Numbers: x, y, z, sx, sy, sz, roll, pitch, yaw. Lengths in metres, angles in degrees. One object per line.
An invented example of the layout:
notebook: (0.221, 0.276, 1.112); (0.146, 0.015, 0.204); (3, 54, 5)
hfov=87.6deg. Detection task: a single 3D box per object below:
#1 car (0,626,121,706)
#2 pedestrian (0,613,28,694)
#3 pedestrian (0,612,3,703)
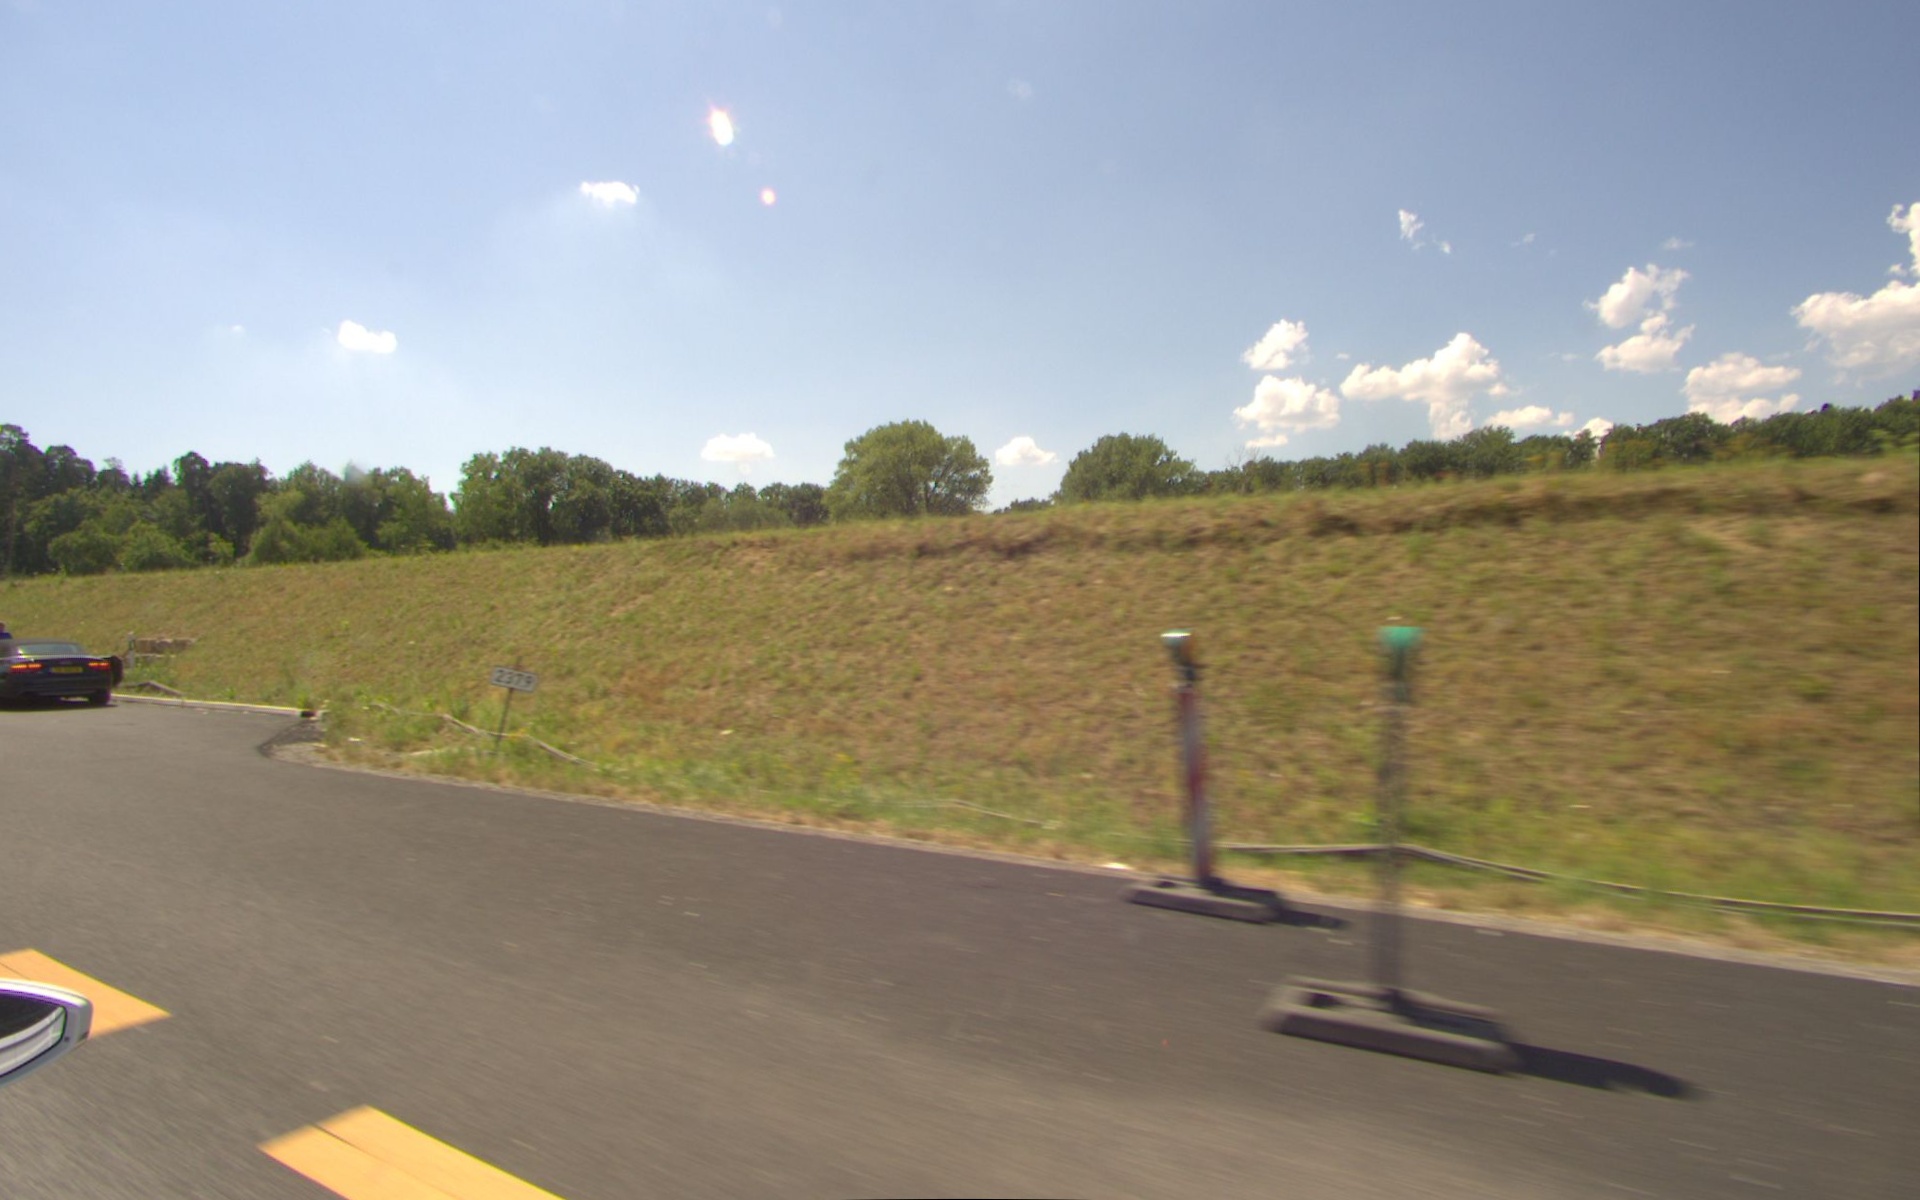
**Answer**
car: (-19.576, 1.308, 21.100); (4.480, 1.446, 1.650); (-1, 1, 33)
pedestrian: (-21.978, 1.221, 22.968); (0.631, 1.851, 0.625); (0, -1, 20)
pedestrian: (-19.799, 1.149, 20.084); (0.548, 1.851, 0.642); (0, -1, 11)
